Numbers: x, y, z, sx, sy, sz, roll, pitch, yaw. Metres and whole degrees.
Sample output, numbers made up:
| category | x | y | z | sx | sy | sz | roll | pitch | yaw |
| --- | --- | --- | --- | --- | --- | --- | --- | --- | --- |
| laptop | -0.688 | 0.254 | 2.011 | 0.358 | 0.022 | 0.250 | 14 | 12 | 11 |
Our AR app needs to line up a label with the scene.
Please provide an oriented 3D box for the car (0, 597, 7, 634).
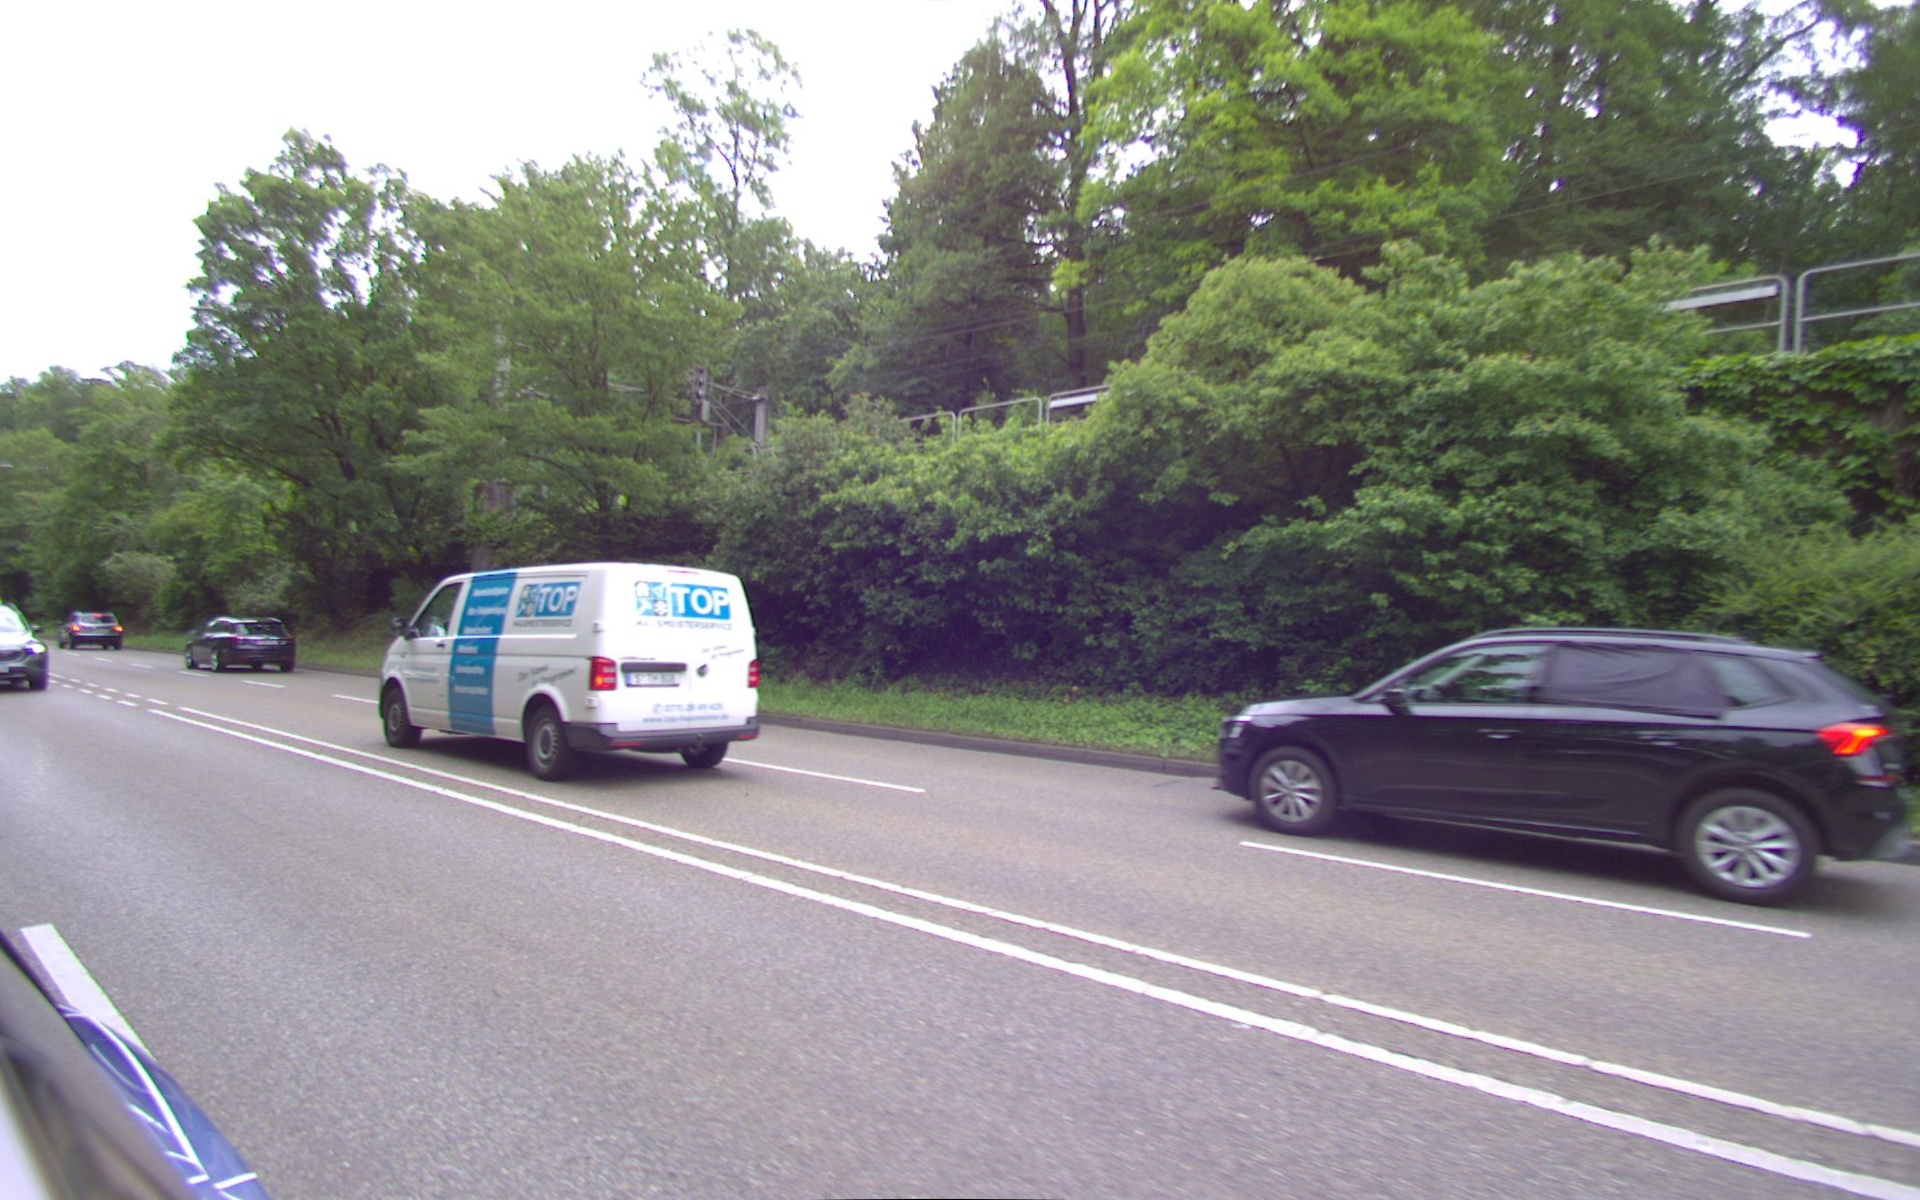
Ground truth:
| category | x | y | z | sx | sy | sz | roll | pitch | yaw |
| --- | --- | --- | --- | --- | --- | --- | --- | --- | --- |
| car | -69.598 | 1.063 | 72.137 | 4.913 | 2.575 | 1.867 | 0 | -3 | 42 |

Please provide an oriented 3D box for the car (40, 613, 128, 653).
| category | x | y | z | sx | sy | sz | roll | pitch | yaw |
| --- | --- | --- | --- | --- | --- | --- | --- | --- | --- |
| car | -38.293 | 1.446 | 44.212 | 4.177 | 1.624 | 1.777 | 0 | -3 | 33 |

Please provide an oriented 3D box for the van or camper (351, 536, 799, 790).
| category | x | y | z | sx | sy | sz | roll | pitch | yaw |
| --- | --- | --- | --- | --- | --- | --- | --- | --- | --- |
| van or camper | -4.242 | 0.552 | 10.603 | 5.364 | 2.029 | 1.973 | 0 | -3 | 40 |

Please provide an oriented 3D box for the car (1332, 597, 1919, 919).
| category | x | y | z | sx | sy | sz | roll | pitch | yaw |
| --- | --- | --- | --- | --- | --- | --- | --- | --- | --- |
| car | 4.673 | 0.843 | 6.339 | 4.066 | 1.608 | 1.718 | -1 | -4 | 41 |

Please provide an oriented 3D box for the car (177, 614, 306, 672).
| category | x | y | z | sx | sy | sz | roll | pitch | yaw |
| --- | --- | --- | --- | --- | --- | --- | --- | --- | --- |
| car | -19.907 | 1.148 | 27.958 | 4.527 | 1.479 | 1.893 | -1 | -3 | 41 |

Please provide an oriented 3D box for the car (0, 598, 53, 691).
| category | x | y | z | sx | sy | sz | roll | pitch | yaw |
| --- | --- | --- | --- | --- | --- | --- | --- | --- | --- |
| car | -19.155 | 0.808 | 19.585 | 4.190 | 1.675 | 1.847 | 0 | -1 | 41 |
